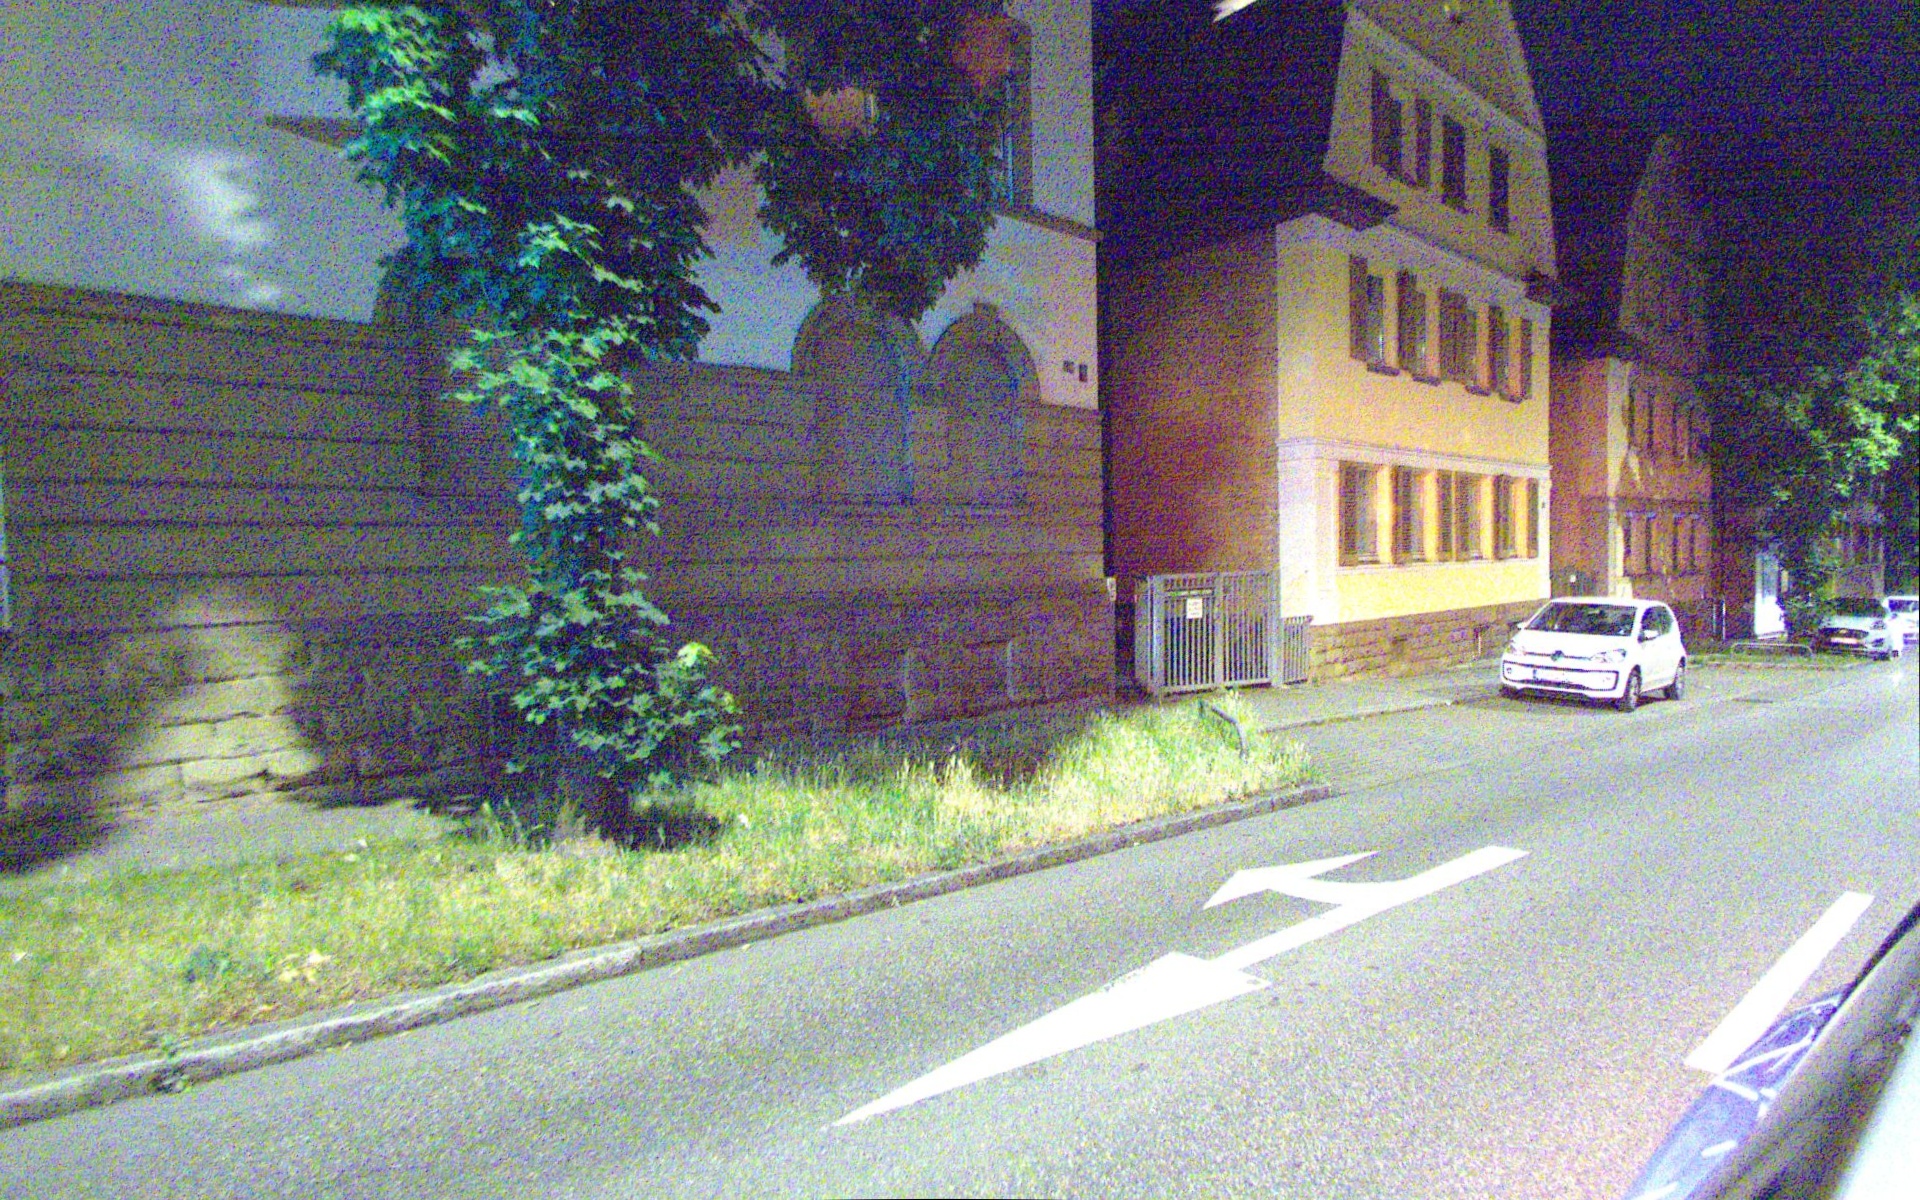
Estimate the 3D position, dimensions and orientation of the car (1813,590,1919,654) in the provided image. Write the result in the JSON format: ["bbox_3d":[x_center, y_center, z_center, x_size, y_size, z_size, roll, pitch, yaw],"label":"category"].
[{"bbox_3d":[23.607,0.514,26.280,3.824,1.516,1.740,0,2,-43],"label":"car"}]

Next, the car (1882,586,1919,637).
[{"bbox_3d":[33.531,0.376,35.138,4.107,1.673,1.850,0,0,-42],"label":"car"}]

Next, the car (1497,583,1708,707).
[{"bbox_3d":[9.280,0.560,14.543,3.425,1.527,1.610,0,2,-41],"label":"car"}]
